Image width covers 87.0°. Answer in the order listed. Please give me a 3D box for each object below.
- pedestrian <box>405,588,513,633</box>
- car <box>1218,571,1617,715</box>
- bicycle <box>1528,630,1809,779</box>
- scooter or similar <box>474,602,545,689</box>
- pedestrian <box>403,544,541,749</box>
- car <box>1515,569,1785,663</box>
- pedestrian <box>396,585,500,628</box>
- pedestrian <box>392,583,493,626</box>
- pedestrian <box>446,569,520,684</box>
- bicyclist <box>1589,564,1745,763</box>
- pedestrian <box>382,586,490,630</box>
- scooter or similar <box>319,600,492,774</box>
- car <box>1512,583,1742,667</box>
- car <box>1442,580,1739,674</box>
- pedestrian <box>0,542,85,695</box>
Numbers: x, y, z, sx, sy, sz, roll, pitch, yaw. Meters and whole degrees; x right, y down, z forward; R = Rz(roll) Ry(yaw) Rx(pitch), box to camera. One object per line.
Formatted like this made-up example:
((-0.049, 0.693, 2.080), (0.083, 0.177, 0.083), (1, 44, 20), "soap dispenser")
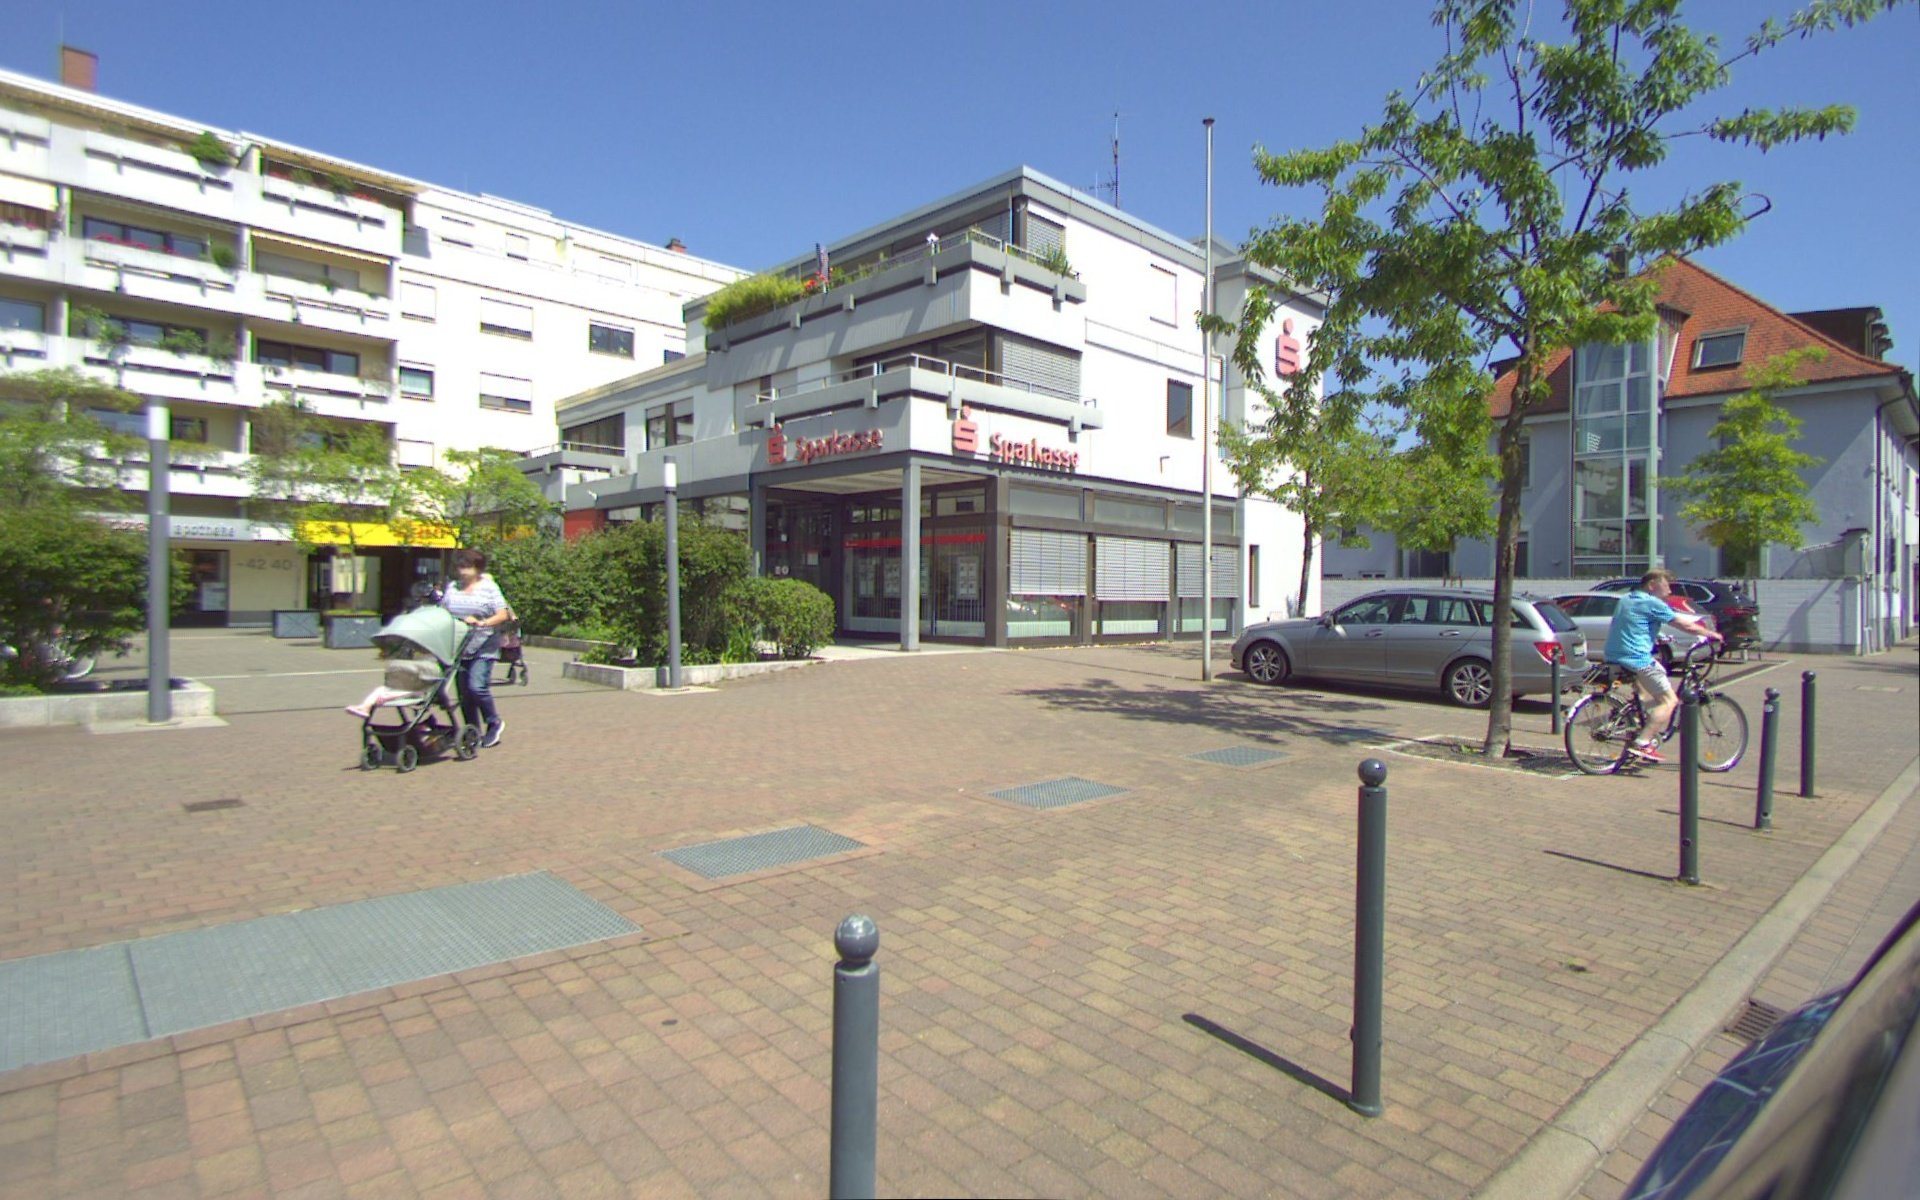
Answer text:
((-14.843, 0.287, 30.057), (0.983, 1.289, 2.735), (1, 1, 40), "pedestrian")
((6.056, 0.436, 13.798), (4.576, 1.531, 1.887), (3, 3, 44), "car")
((5.737, 0.831, 8.245), (1.858, 1.123, 0.677), (1, 1, -6), "bicycle")
((-5.923, 0.574, 13.309), (0.802, 1.088, 0.582), (0, 0, 43), "scooter or similar")
((-3.835, 0.347, 8.014), (0.693, 1.540, 0.801), (0, -1, 1), "pedestrian")
((15.373, 0.271, 22.746), (2.111, 1.793, 4.636), (1, 2, -43), "car")
((-16.028, 0.176, 31.745), (0.983, 1.289, 2.735), (1, 1, 40), "pedestrian")
((-16.541, 0.129, 32.422), (0.983, 1.289, 2.735), (1, 1, 40), "pedestrian")
((-6.527, 0.346, 13.858), (0.808, 1.516, 0.659), (0, -1, 43), "pedestrian")
((5.735, 0.493, 8.246), (0.746, 1.546, 0.672), (1, 1, -6), "bicyclist")
((-15.786, 0.221, 30.566), (0.983, 1.289, 2.735), (1, 1, 40), "pedestrian")
((-3.874, 0.570, 7.149), (0.616, 1.120, 1.043), (0, 0, 2), "scooter or similar")
((13.812, 0.457, 21.076), (3.730, 1.470, 1.717), (3, 2, 44), "car")
((11.941, 0.429, 19.371), (4.537, 1.458, 1.811), (3, 2, 44), "car")
((-11.110, 0.210, 12.084), (0.700, 1.758, 0.890), (0, 0, 39), "pedestrian")
